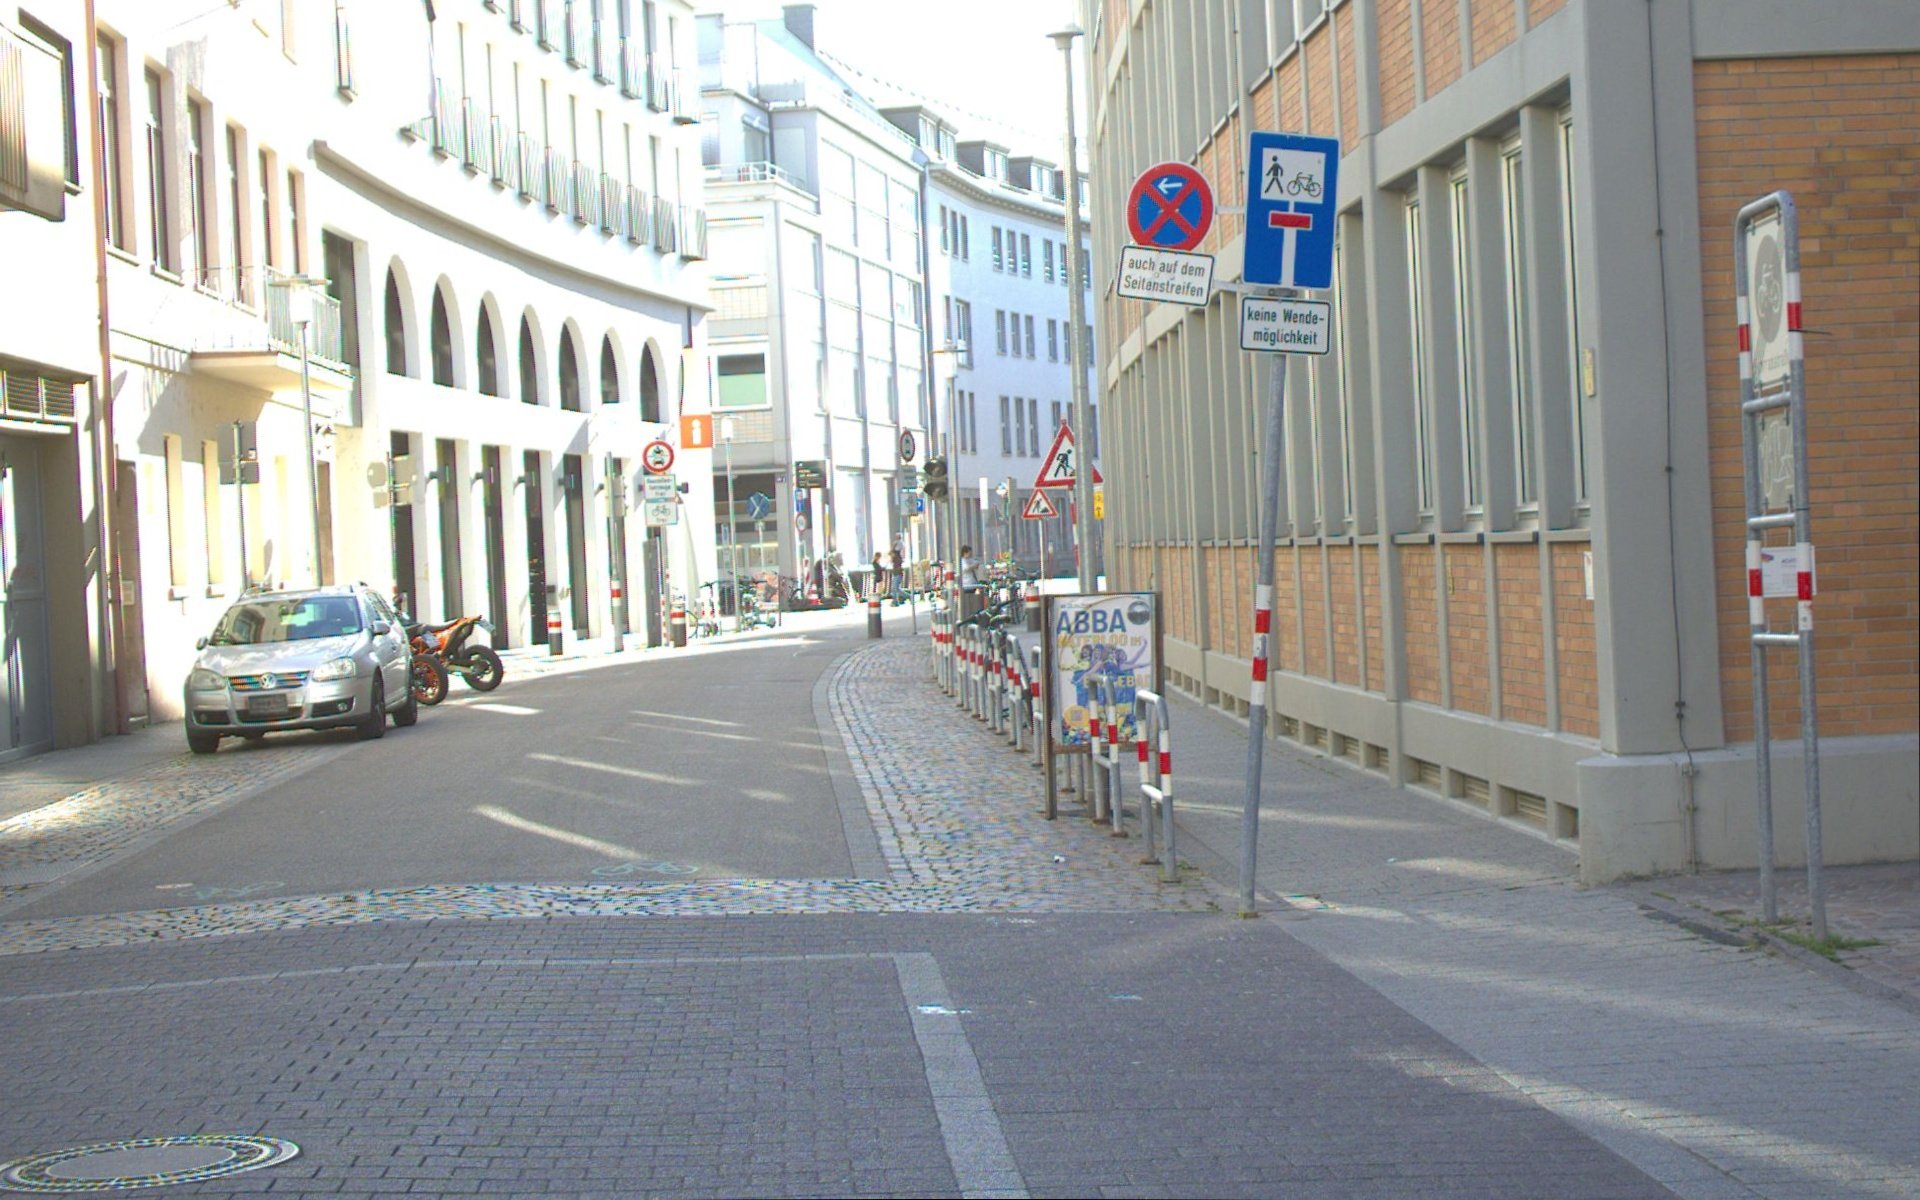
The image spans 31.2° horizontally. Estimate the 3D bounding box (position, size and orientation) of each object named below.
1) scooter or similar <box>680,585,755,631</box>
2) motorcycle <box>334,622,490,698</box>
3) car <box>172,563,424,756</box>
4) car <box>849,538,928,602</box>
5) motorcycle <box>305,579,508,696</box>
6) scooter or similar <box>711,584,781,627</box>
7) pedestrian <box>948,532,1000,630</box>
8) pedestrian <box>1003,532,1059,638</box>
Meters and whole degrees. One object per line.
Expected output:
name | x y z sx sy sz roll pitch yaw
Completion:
scooter or similar | -5.257 0.170 74.649 0.526 0.925 2.224 -1 1 27
motorcycle | -6.338 0.689 39.806 1.691 0.856 0.594 -1 0 2
car | -6.202 0.515 32.561 1.736 1.600 3.533 -4 1 -2
car | -1.956 -0.842 94.997 1.737 1.600 3.532 -3 1 5
motorcycle | -7.002 0.471 43.614 2.390 1.312 0.862 -3 1 -3
scooter or similar | -4.904 0.124 78.944 0.526 0.925 2.224 -1 1 27
pedestrian | 0.275 -0.368 66.070 0.659 1.862 0.786 0 0 -33
pedestrian | 1.249 -0.267 60.782 0.659 1.862 0.761 0 0 -33
